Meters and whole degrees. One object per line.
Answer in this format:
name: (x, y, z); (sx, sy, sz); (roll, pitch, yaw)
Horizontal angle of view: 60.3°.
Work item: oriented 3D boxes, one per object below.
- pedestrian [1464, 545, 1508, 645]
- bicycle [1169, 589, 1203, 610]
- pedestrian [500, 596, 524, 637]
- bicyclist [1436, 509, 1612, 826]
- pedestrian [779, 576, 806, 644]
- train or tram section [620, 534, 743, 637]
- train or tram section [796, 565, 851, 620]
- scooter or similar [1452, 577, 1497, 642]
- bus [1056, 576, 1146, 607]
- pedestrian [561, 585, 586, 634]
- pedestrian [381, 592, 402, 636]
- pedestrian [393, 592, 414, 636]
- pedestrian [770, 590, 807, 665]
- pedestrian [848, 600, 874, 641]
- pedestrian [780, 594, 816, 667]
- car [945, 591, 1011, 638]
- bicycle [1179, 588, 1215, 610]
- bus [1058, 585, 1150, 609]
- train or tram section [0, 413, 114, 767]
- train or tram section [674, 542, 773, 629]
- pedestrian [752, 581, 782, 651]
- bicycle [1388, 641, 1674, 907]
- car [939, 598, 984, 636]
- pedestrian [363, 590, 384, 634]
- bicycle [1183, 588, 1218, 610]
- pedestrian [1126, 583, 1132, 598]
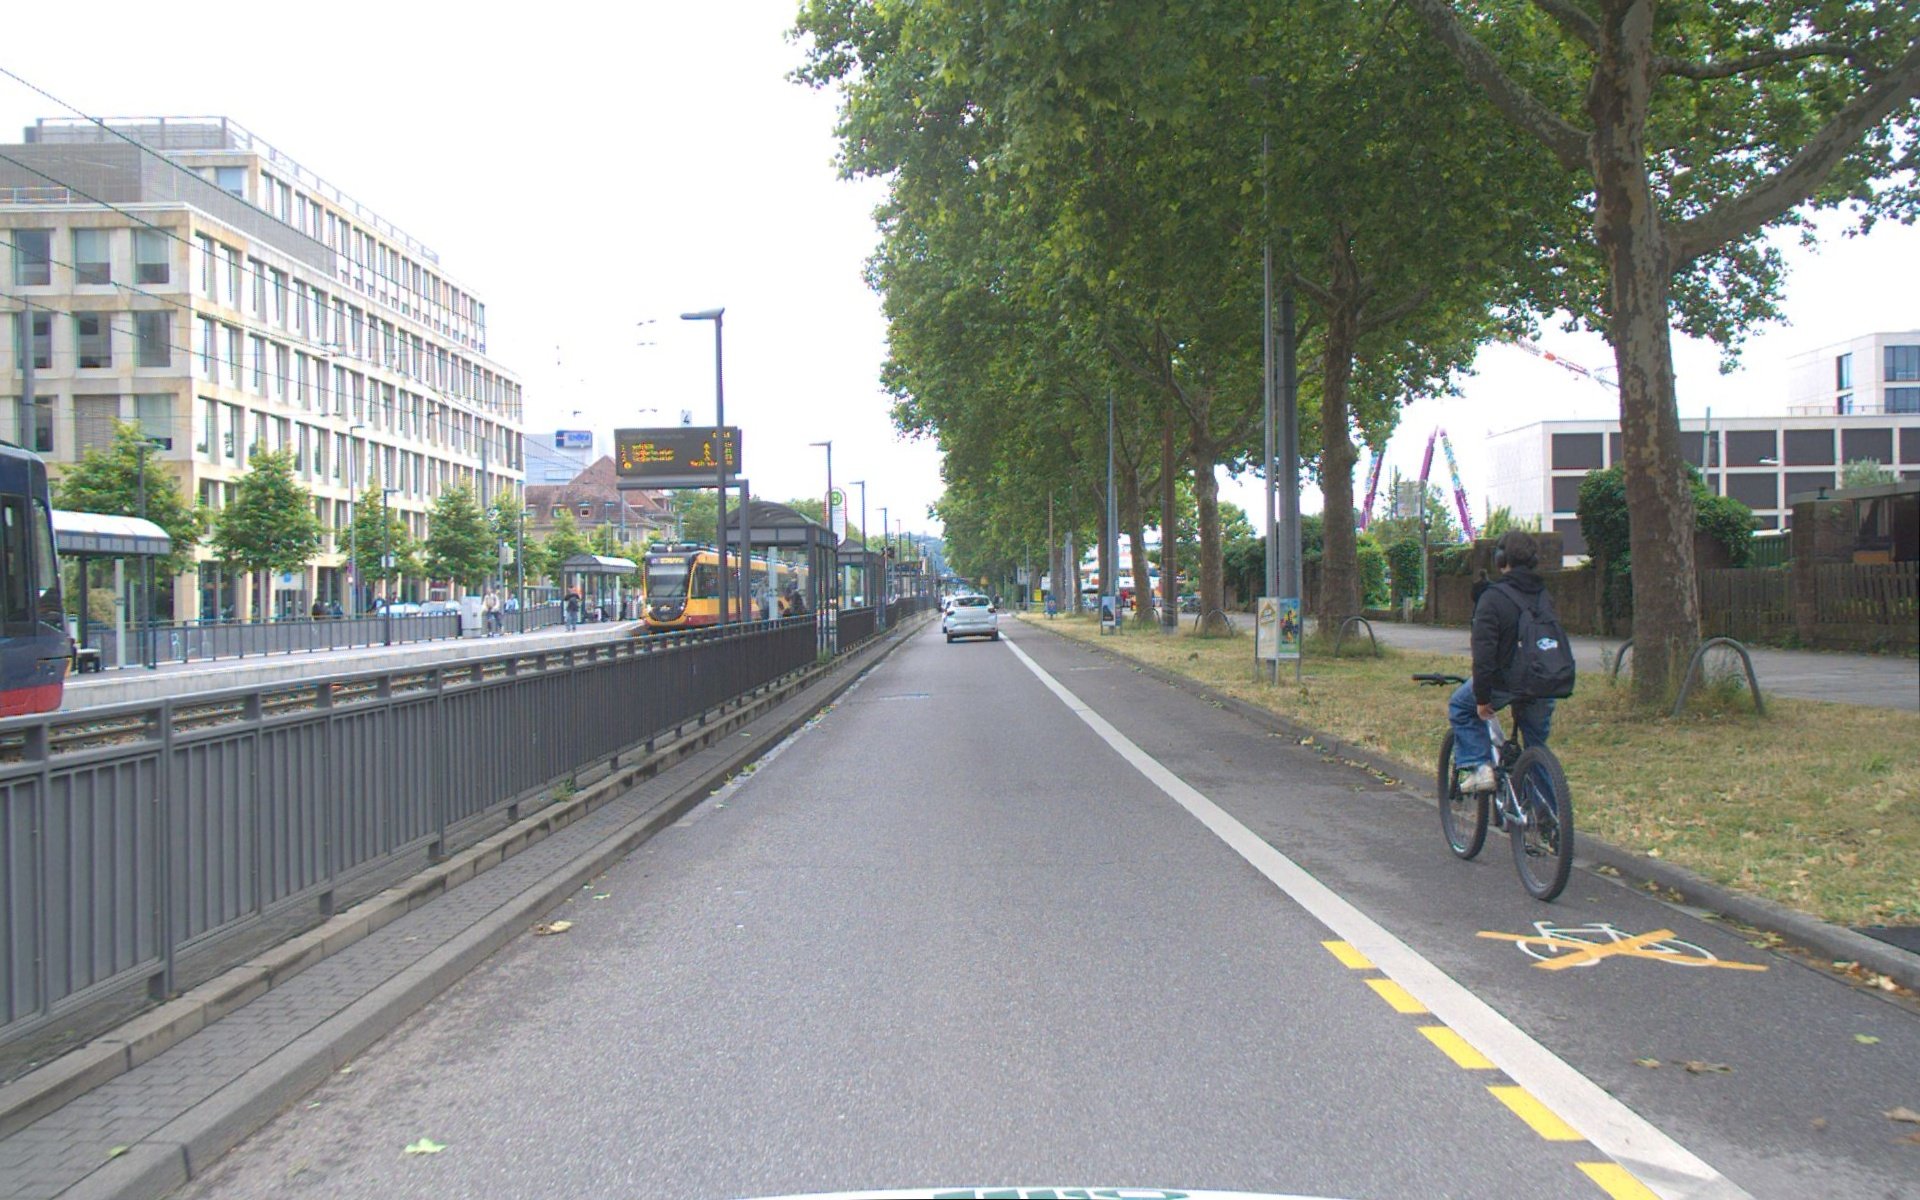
pedestrian: (11.019, -0.107, 34.642); (0.571, 2.049, 0.924); (-1, -1, -1)
bicycle: (13.378, -0.030, 98.089); (1.883, 1.110, 0.549); (-3, -1, -2)
pedestrian: (-22.578, 0.825, 83.427); (0.914, 2.049, 1.032); (-1, -1, -1)
bicyclist: (2.888, 0.335, 8.524); (0.628, 1.557, 0.664); (-1, -1, -2)
pedestrian: (-4.588, 0.279, 45.344); (0.657, 1.825, 1.111); (-1, -1, -8)
train or tram section: (-11.614, -0.528, 70.290); (3.171, 3.929, 11.311); (-1, 0, 0)
train or tram section: (-11.243, -0.565, 137.699); (3.115, 4.252, 14.733); (-1, 0, 0)
scooter or similar: (11.092, 0.206, 35.701); (0.564, 1.378, 1.155); (-1, -1, -1)
bus: (14.510, -0.865, 170.590); (9.091, 3.011, 1.999); (-1, -1, -3)
pedestrian: (-14.792, 0.371, 63.325); (0.697, 1.827, 1.160); (-1, -1, -1)
pedestrian: (-26.462, 0.649, 77.054); (0.698, 2.049, 0.725); (-1, -1, -1)
pedestrian: (-26.491, 0.664, 78.749); (0.698, 2.049, 0.725); (-1, -1, -1)
pedestrian: (-3.207, 0.508, 30.944); (0.598, 1.364, 0.600); (-1, -1, 0)
pedestrian: (-3.258, 0.667, 54.516); (0.818, 1.326, 0.613); (-1, -1, -2)
pedestrian: (-3.155, 0.599, 32.229); (0.598, 1.396, 0.600); (-1, -1, 0)
car: (0.636, 0.469, 55.238); (1.845, 1.478, 4.002); (-1, 0, 5)
bicycle: (13.485, -0.065, 94.148); (1.935, 1.114, 0.549); (-3, -1, -2)
bus: (14.518, -0.301, 167.158); (9.091, 2.266, 1.999); (-1, -1, -3)
train or tram section: (-11.521, -0.119, 13.129); (2.796, 3.756, 13.517); (-1, 0, -1)
train or tram section: (-11.526, -0.610, 81.650); (3.098, 3.929, 11.311); (-1, 0, 0)
pedestrian: (-5.166, 0.425, 44.297); (0.658, 1.825, 1.109); (-1, -1, -13)
bicycle: (2.931, 0.831, 8.768); (0.639, 1.170, 2.282); (-1, -1, -2)
car: (0.097, 0.721, 73.096); (1.803, 1.579, 4.001); (-2, 0, 1)
pedestrian: (-27.561, 0.581, 77.763); (0.698, 2.049, 0.725); (-1, -1, 0)
bicycle: (13.515, -0.051, 92.933); (1.852, 1.124, 0.549); (-3, -1, -2)
pedestrian: (16.447, -0.931, 161.268); (0.483, 1.488, 0.523); (-1, -1, -3)
